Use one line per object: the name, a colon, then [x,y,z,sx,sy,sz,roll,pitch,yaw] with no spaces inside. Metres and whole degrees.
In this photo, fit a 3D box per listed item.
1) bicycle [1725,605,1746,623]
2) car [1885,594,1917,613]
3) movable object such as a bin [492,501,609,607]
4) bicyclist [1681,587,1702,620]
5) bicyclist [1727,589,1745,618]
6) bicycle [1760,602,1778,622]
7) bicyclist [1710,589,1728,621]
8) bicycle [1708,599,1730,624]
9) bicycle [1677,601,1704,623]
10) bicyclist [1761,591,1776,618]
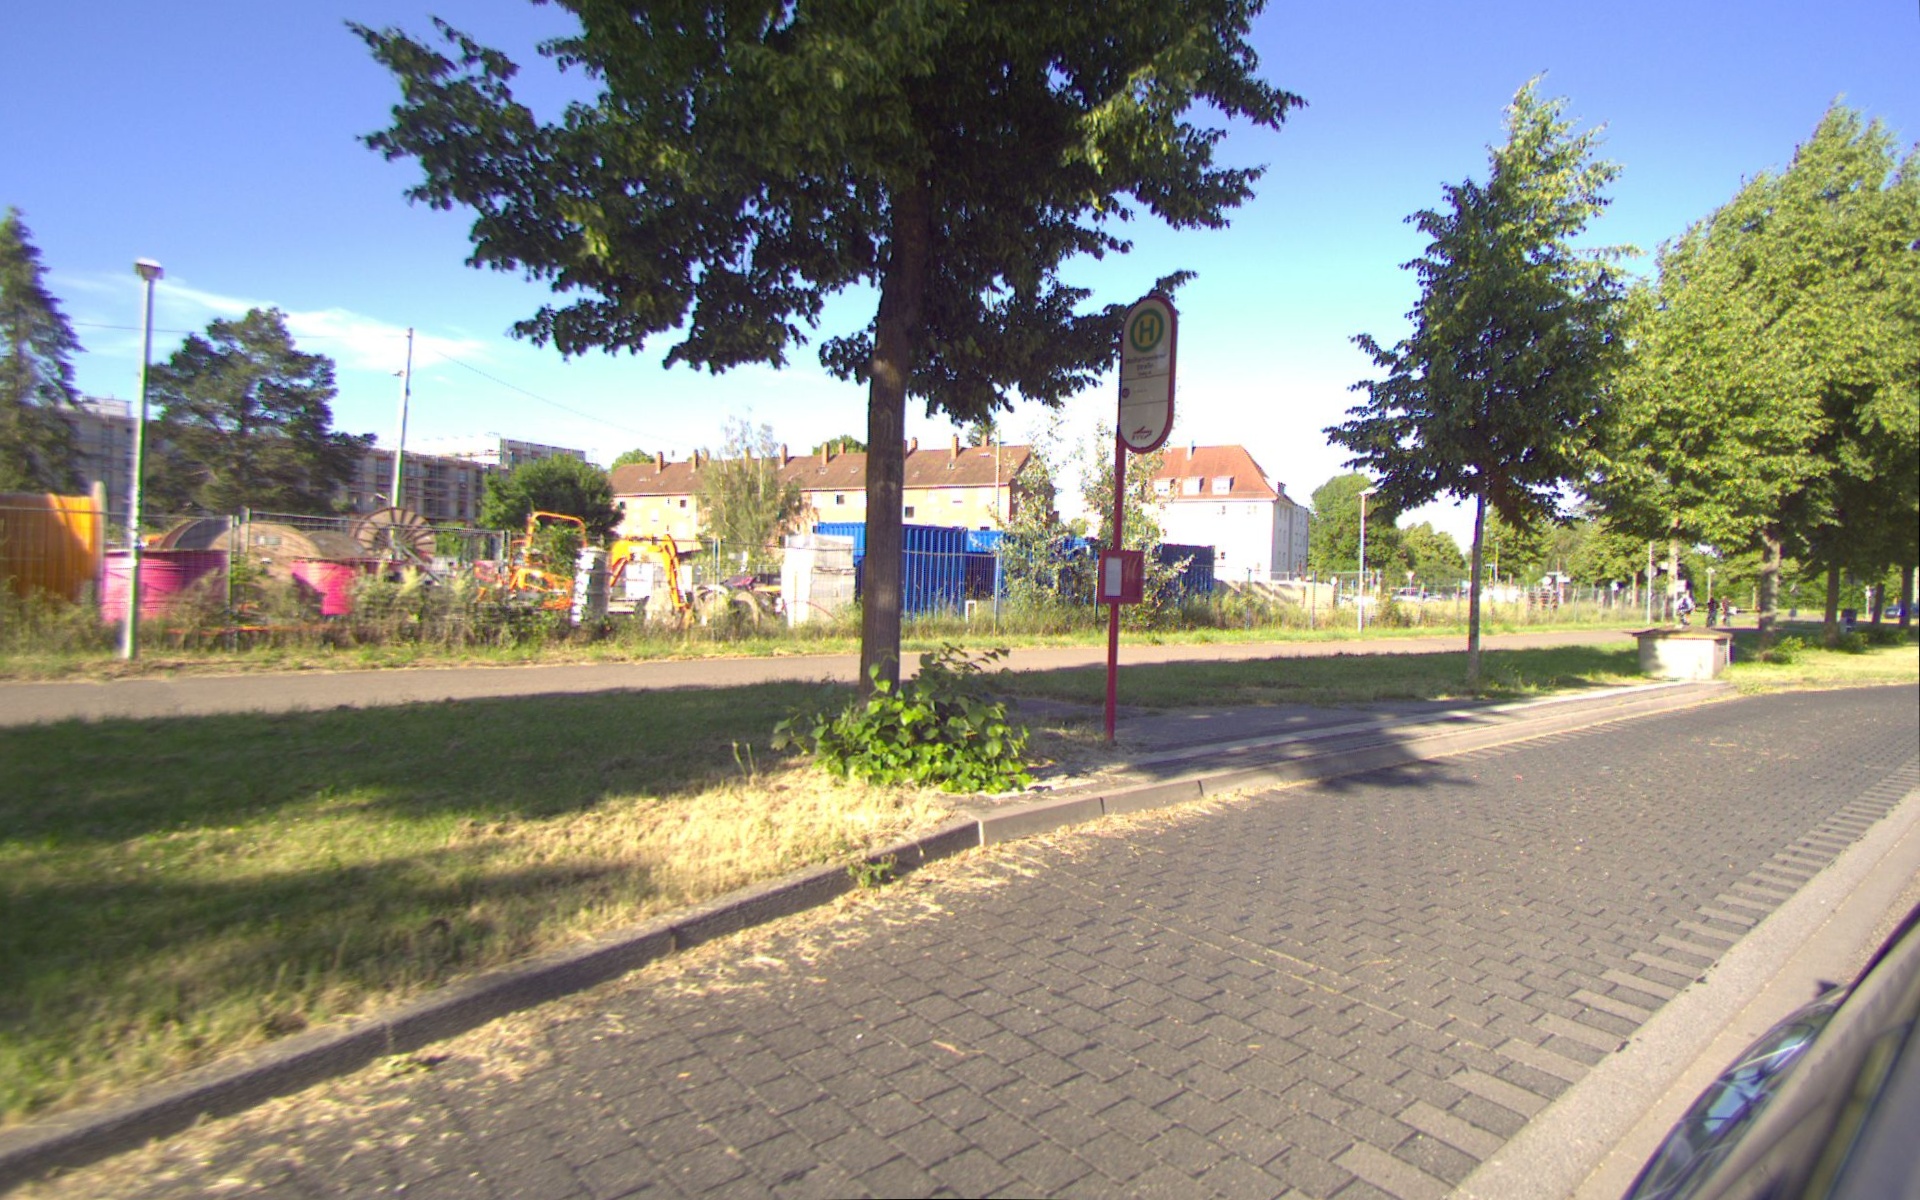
bicycle: [44.043,0.788,57.467,1.867,0.972,0.592,-1,2,-40]
car: [83.162,0.284,89.430,3.611,1.584,1.700,1,2,-41]
movable object such as a bin: [-8.371,-0.922,20.659,1.757,2.038,1.799,-1,2,-39]
bicyclist: [35.545,0.163,49.185,0.780,1.572,0.654,0,1,-40]
bicyclist: [44.016,0.218,57.427,0.948,1.606,0.592,-1,2,-40]
bicycle: [45.464,0.662,56.882,1.615,1.095,0.478,-1,2,-41]
bicyclist: [36.489,0.239,48.643,0.819,1.491,0.504,0,1,-41]
bicycle: [36.521,0.566,48.682,1.577,1.166,0.506,1,2,-42]
bicycle: [35.530,0.568,49.198,1.788,1.025,0.657,1,1,-41]
bicyclist: [45.443,0.242,56.852,0.899,1.504,0.471,-1,2,-41]
